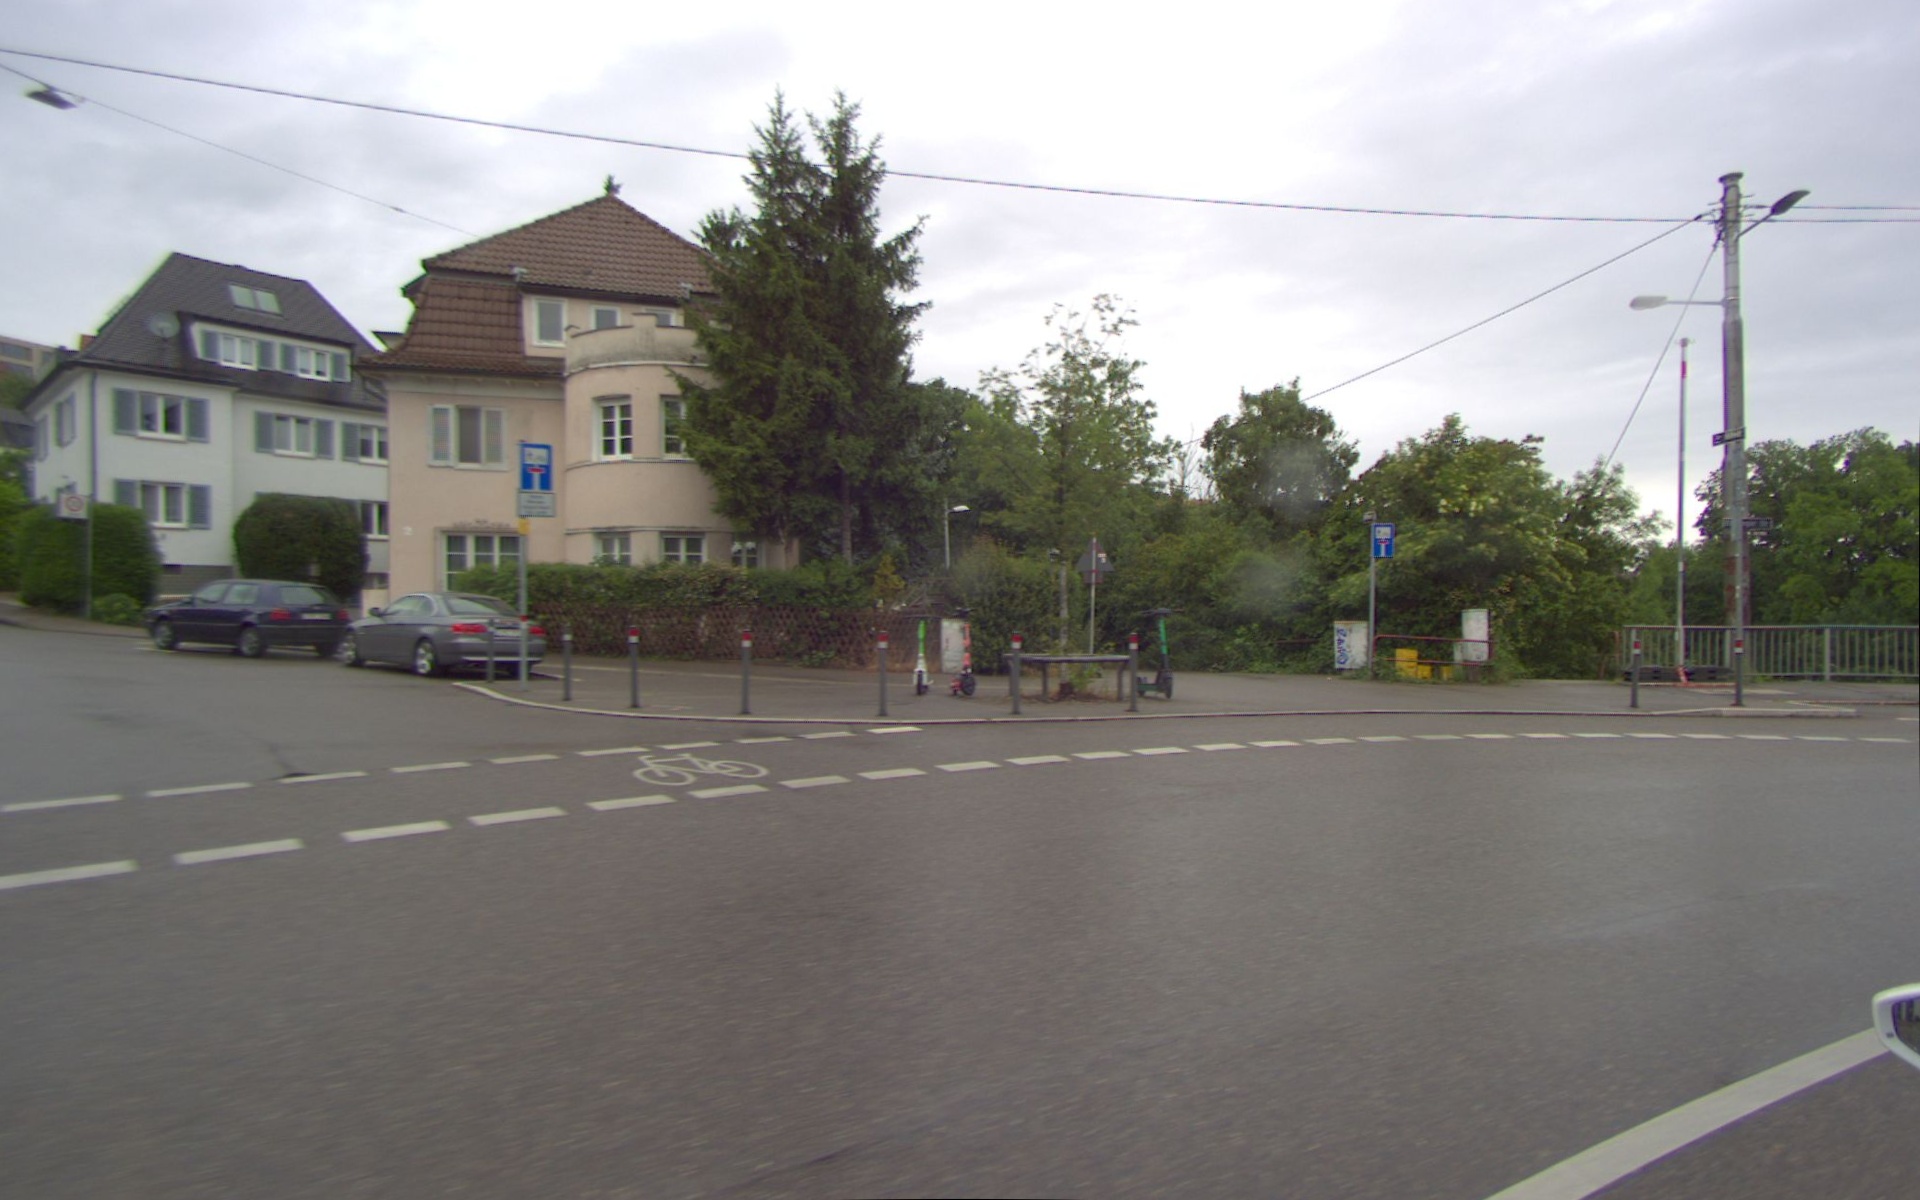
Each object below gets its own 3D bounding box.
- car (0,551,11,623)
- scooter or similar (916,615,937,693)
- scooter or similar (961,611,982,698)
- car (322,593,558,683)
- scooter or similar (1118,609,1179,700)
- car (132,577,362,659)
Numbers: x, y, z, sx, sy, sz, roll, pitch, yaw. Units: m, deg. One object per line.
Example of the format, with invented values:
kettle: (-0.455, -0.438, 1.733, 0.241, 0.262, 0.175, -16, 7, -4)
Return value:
car: (-24.708, -0.449, 23.795, 3.924, 1.684, 1.874, 4, 0, 25)
scooter or similar: (-0.491, 0.773, 14.802, 0.239, 1.083, 1.037, 1, 0, 1)
scooter or similar: (0.158, 0.762, 14.406, 0.239, 1.180, 1.037, 1, 0, -1)
car: (-8.905, 0.586, 17.121, 4.130, 1.283, 1.671, 2, 0, 32)
scooter or similar: (2.669, 0.758, 14.296, 0.240, 1.234, 1.029, 1, 0, -28)
car: (-13.940, 0.315, 19.645, 4.122, 1.421, 1.675, 2, 0, 22)
